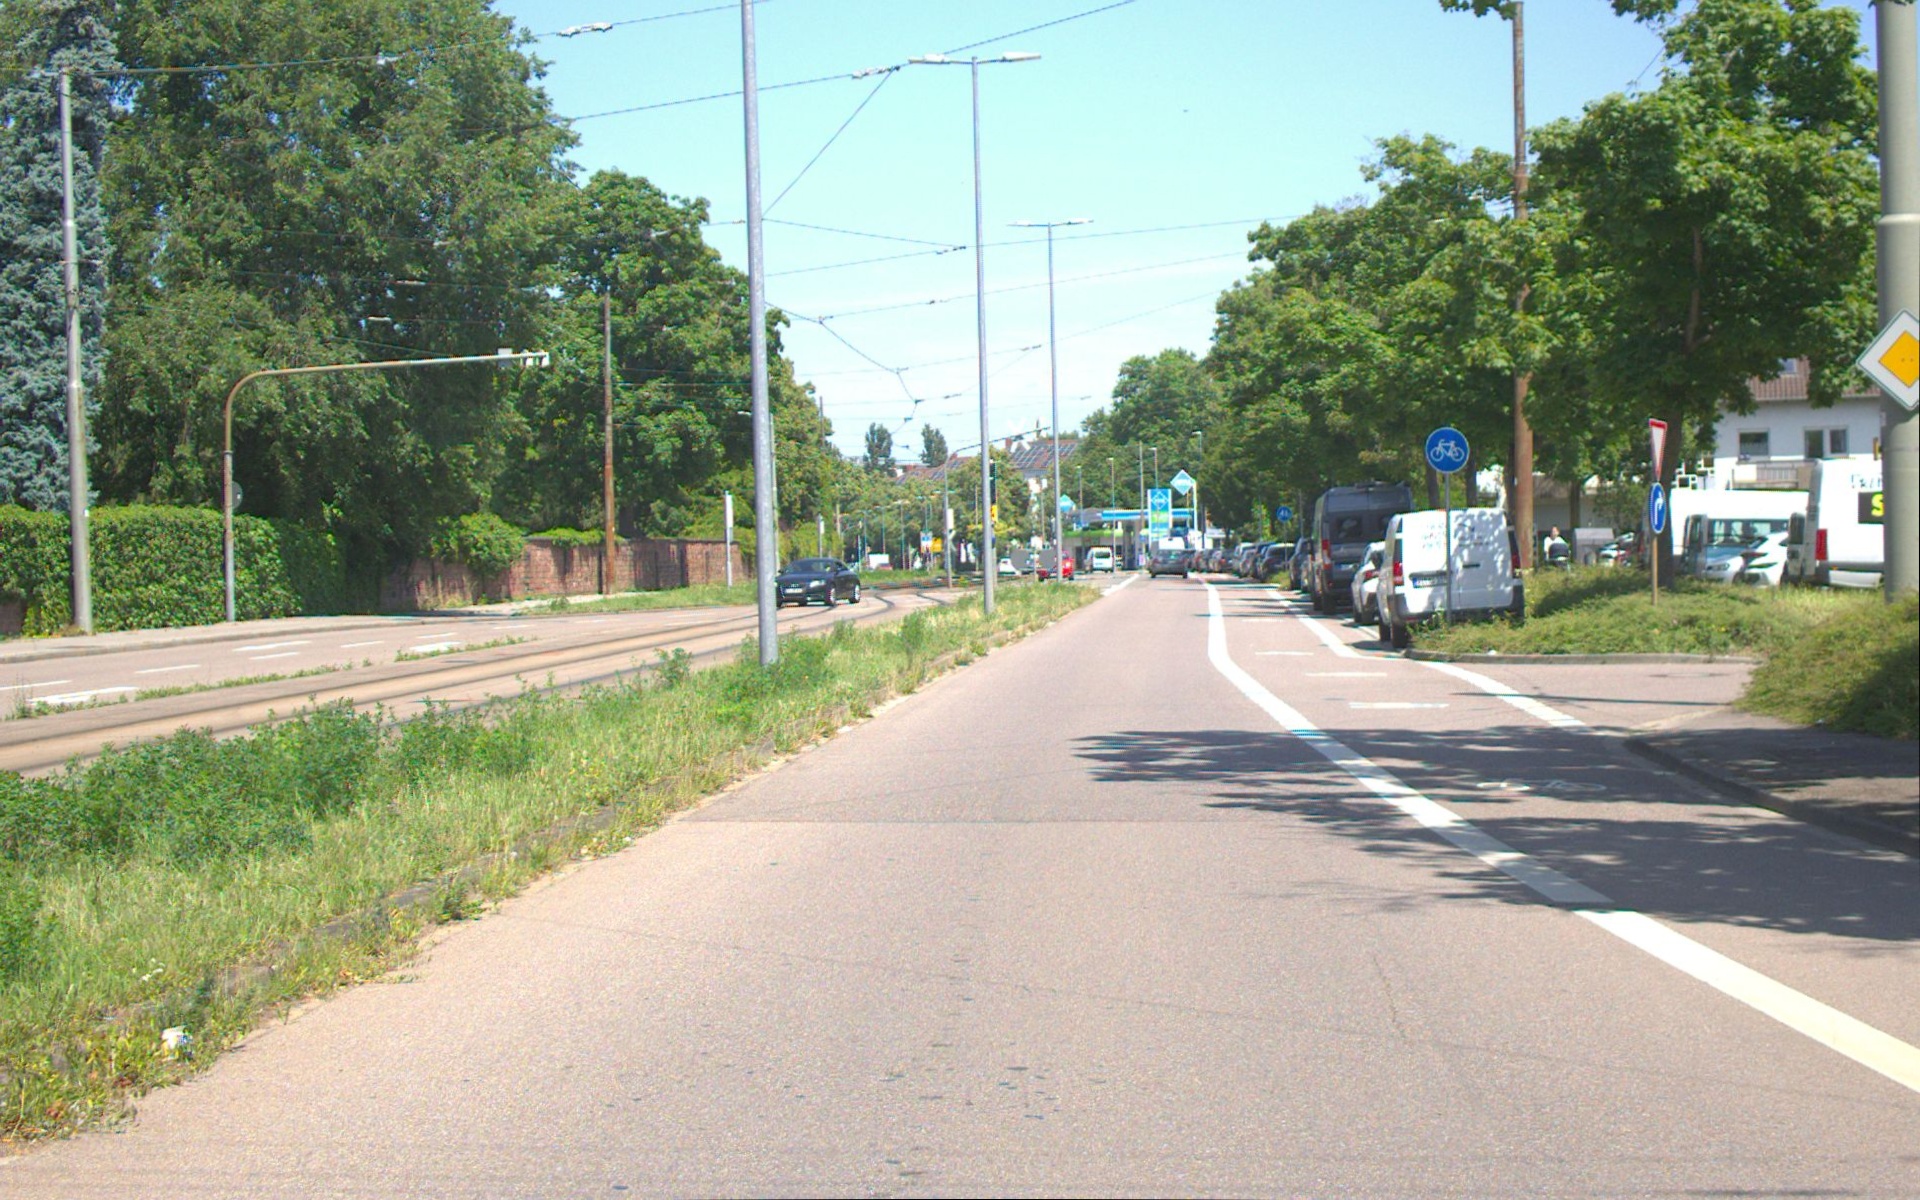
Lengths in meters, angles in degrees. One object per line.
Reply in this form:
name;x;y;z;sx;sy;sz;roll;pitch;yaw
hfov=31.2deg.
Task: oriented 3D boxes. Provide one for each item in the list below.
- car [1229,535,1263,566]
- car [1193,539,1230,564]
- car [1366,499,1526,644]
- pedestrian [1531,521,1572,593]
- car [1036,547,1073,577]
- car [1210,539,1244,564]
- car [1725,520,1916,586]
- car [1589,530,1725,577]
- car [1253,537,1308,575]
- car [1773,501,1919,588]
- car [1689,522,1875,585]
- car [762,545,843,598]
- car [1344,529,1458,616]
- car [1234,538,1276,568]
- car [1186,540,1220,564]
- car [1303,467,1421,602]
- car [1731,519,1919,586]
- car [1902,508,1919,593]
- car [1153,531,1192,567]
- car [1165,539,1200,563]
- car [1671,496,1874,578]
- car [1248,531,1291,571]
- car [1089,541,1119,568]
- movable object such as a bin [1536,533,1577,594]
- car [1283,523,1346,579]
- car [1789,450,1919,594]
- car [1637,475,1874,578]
car;17.150;-2.978;206.479;1.841;1.688;4.778;-3;1;4
car;17.157;-3.312;234.577;1.706;1.557;4.325;-4;1;-6
car;7.045;-0.446;50.241;1.879;1.910;5.124;-3;1;4
pedestrian;13.563;-0.991;78.829;0.805;1.619;0.943;-1;1;4
car;4.683;-1.900;169.774;1.706;1.409;4.281;-1;1;3
car;17.354;-3.156;223.358;1.707;1.487;5.039;-3;1;0
car;19.518;-1.071;78.098;3.886;1.401;1.728;1;1;2
car;21.253;-1.425;104.886;3.860;1.353;1.770;1;1;5
car;13.115;-1.829;140.923;1.841;1.431;4.824;-3;1;2
car;19.248;-1.161;72.369;3.779;1.778;1.954;1;1;0
car;19.217;-1.091;80.446;3.886;1.401;1.728;1;1;-1
car;-4.441;-0.814;97.486;1.756;1.443;4.122;1;1;5
car;7.919;-0.516;61.963;1.722;1.423;4.209;-3;1;4
car;15.877;-2.540;185.336;1.841;1.524;4.966;-3;1;1
car;16.991;-3.384;240.517;1.706;1.557;4.324;-4;1;-4
car;8.500;-1.399;73.206;1.998;2.627;6.078;-3;1;3
car;19.216;-1.040;75.253;4.276;1.401;1.728;1;1;2
car;17.652;-0.778;56.360;3.886;1.375;1.728;1;1;-2
car;10.278;-2.470;166.592;1.756;1.625;4.323;-3;1;3
car;16.202;-3.535;250.569;1.755;1.625;4.325;-4;1;-5
car;19.671;-1.523;83.322;4.406;1.902;1.954;1;1;0
car;14.254;-2.287;158.483;1.841;1.700;4.625;-3;1;5
car;10.868;-3.412;259.352;1.993;2.007;4.000;1;0;-1
movable object such as a bin;13.514;-0.828;77.902;0.792;1.348;0.889;-1;1;4
car;11.256;-1.535;109.341;1.712;1.627;4.708;-3;0;3
car;18.330;-1.359;61.890;6.342;2.520;2.263;1;1;7
car;19.925;-1.838;86.301;5.491;2.451;2.094;1;1;5
